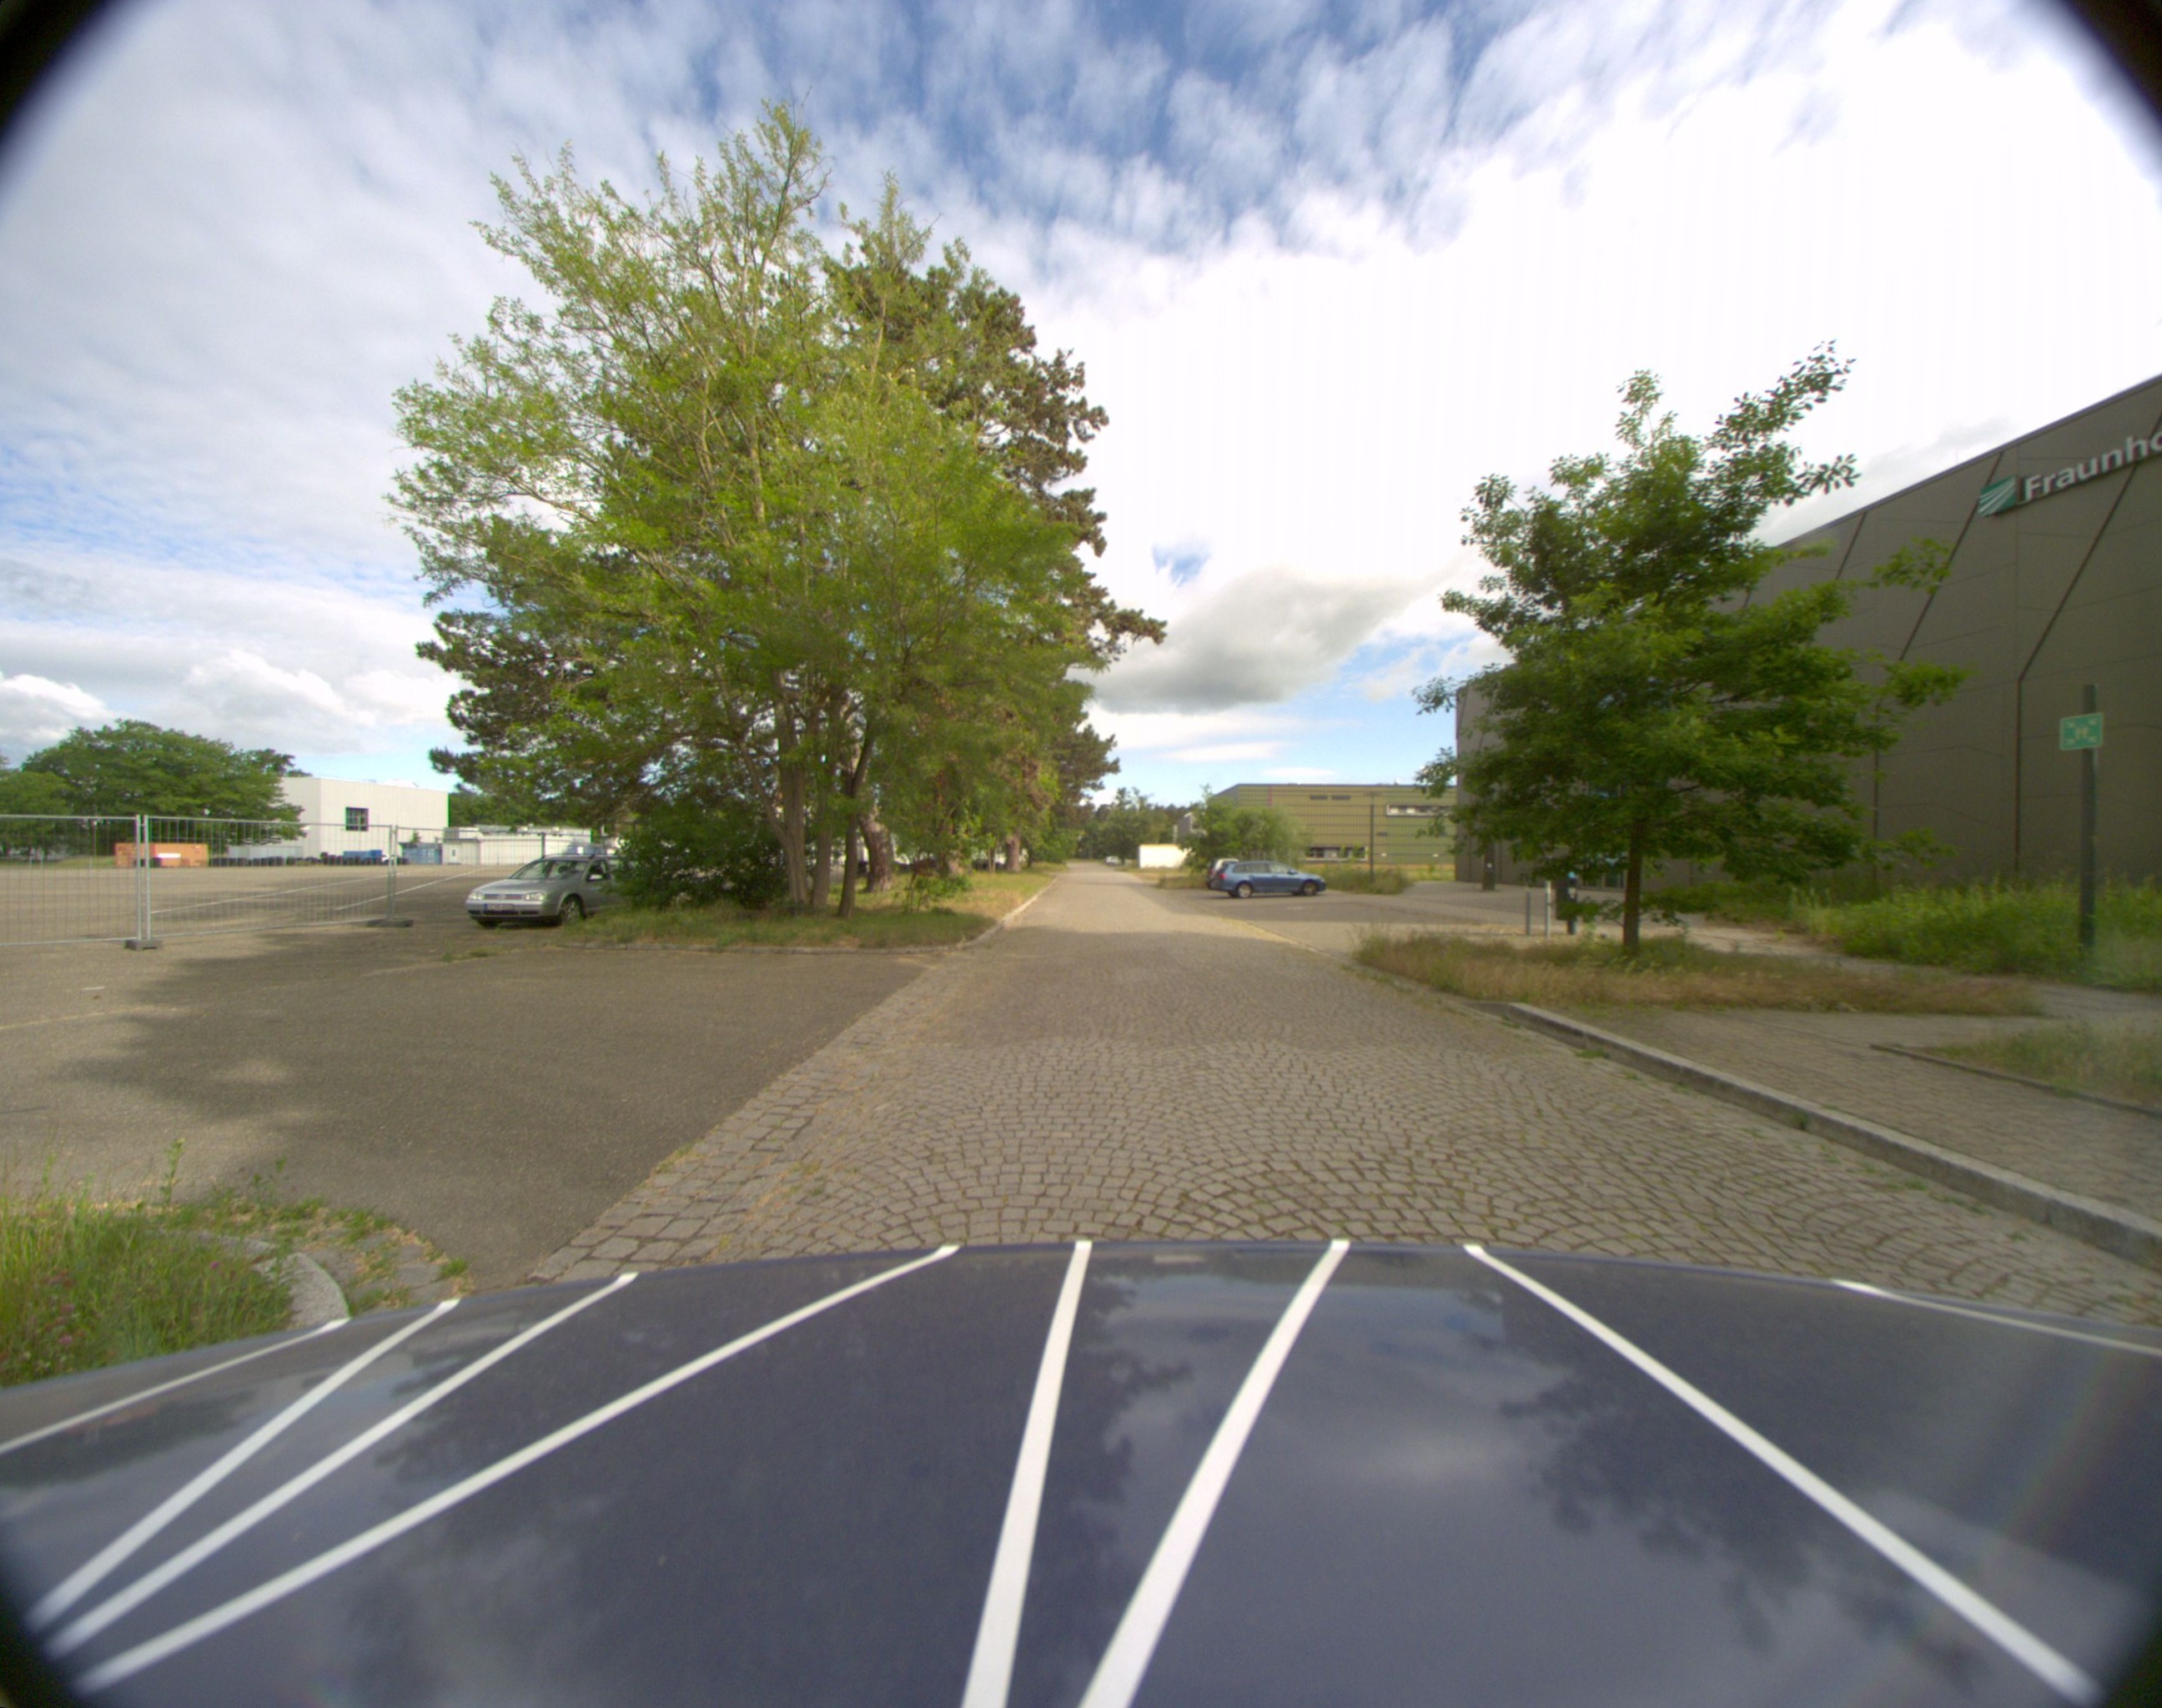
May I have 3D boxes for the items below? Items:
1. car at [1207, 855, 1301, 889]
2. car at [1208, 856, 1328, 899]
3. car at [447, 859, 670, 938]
[{"bbox_3d":[8.626,0.877,38.132,4.401,1.537,1.842,-2,0,7],"label":"car"},{"bbox_3d":[7.540,0.917,30.845,4.404,1.501,1.716,-2,1,-3],"label":"car"},{"bbox_3d":[-10.938,0.841,16.362,1.759,1.440,4.327,0,0,1],"label":"car"}]
